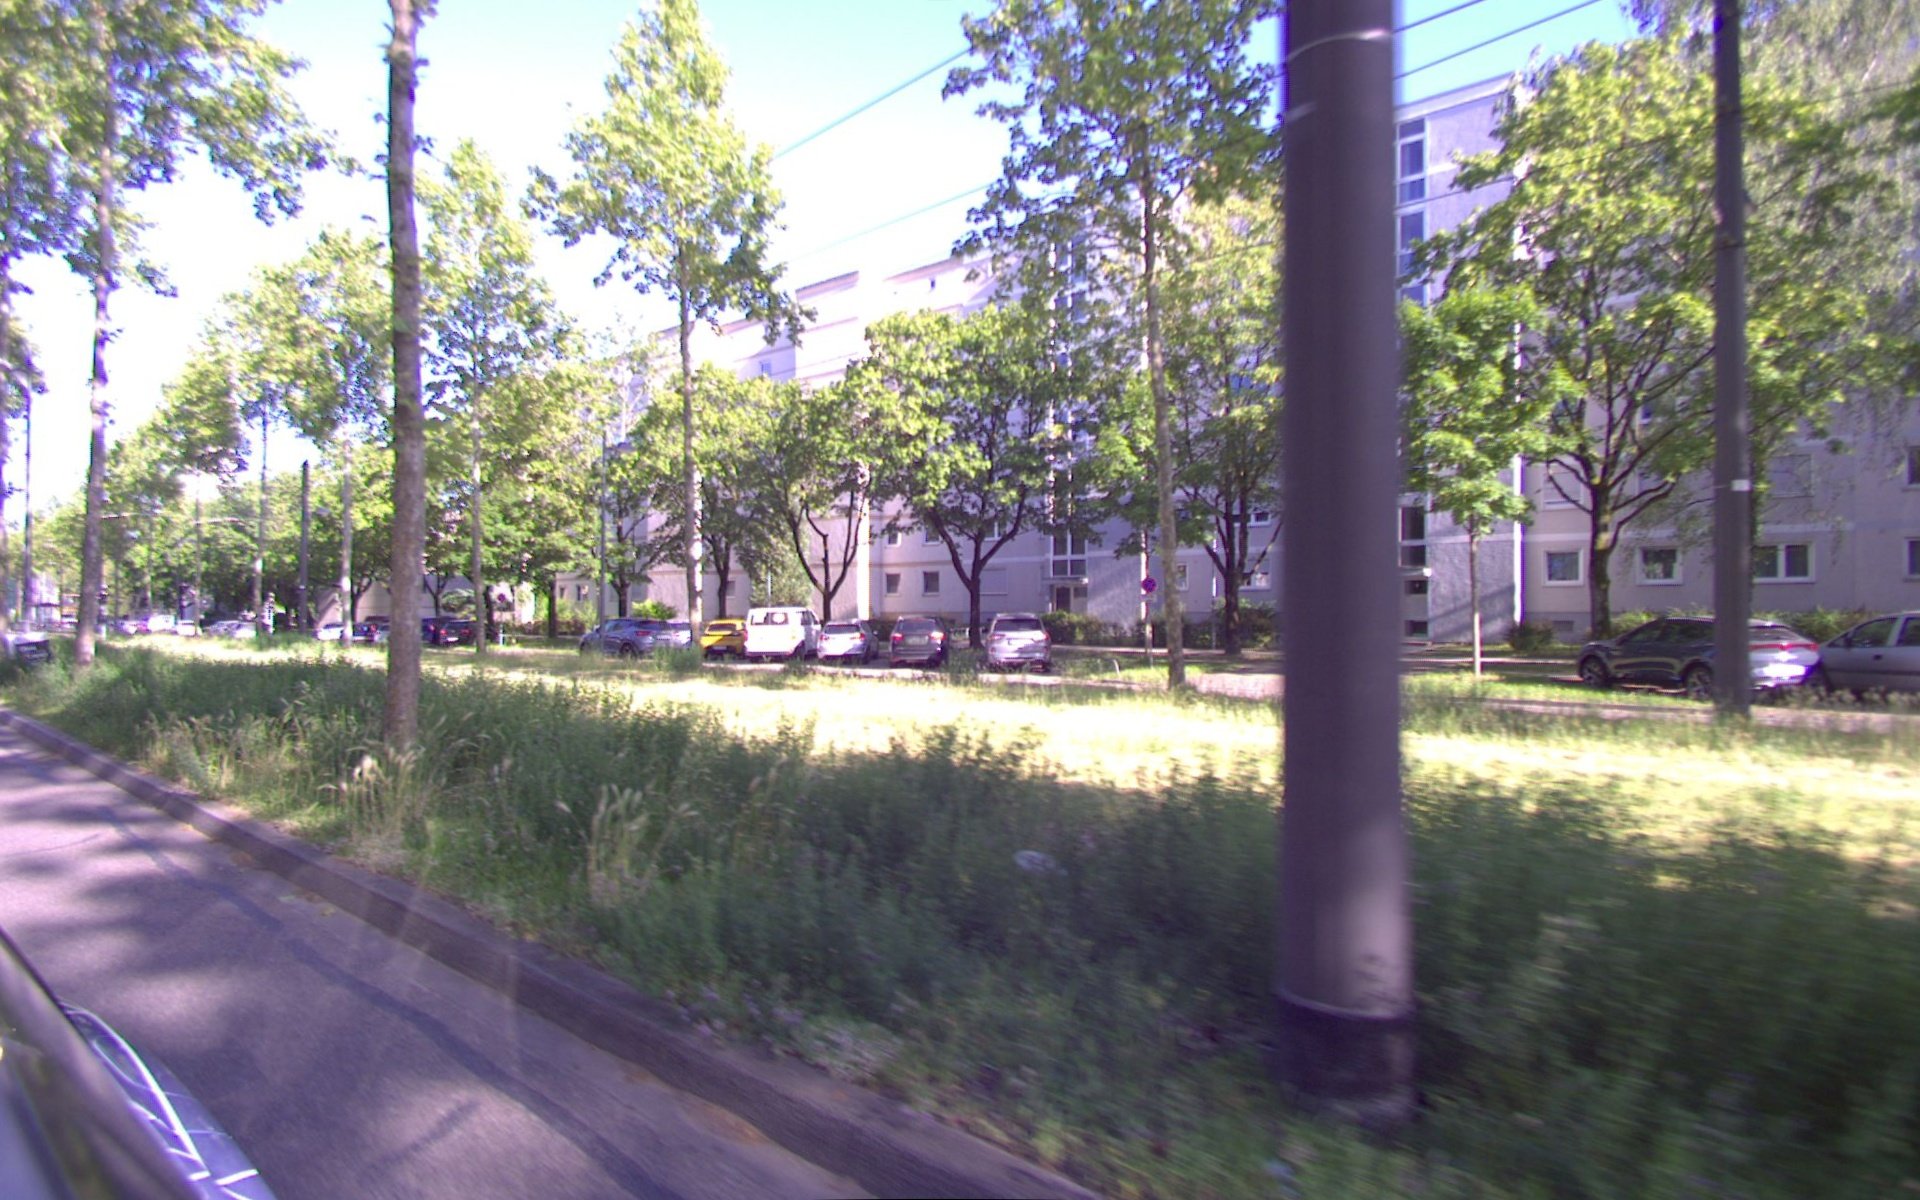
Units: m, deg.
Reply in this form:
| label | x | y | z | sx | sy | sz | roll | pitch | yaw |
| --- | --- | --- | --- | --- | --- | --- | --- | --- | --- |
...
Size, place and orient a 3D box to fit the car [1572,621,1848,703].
| label | x | y | z | sx | sy | sz | roll | pitch | yaw |
| --- | --- | --- | --- | --- | --- | --- | --- | --- | --- |
| car | 13.646 | 1.064 | 18.771 | 1.768 | 1.348 | 4.136 | 0 | -1 | -5 |

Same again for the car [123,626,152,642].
| label | x | y | z | sx | sy | sz | roll | pitch | yaw |
| --- | --- | --- | --- | --- | --- | --- | --- | --- | --- |
| car | -82.056 | 3.369 | 100.918 | 4.017 | 1.500 | 1.577 | -2 | -2 | 41 |

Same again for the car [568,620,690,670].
| label | x | y | z | sx | sy | sz | roll | pitch | yaw |
| --- | --- | --- | --- | --- | --- | --- | --- | --- | --- |
| car | -10.863 | 1.465 | 33.111 | 4.082 | 1.518 | 1.904 | -1 | -4 | 40 |

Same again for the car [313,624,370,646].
| label | x | y | z | sx | sy | sz | roll | pitch | yaw |
| --- | --- | --- | --- | --- | --- | --- | --- | --- | --- |
| car | -40.648 | 2.285 | 66.620 | 1.811 | 1.446 | 3.832 | 0 | -2 | -8 |

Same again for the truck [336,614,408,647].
| label | x | y | z | sx | sy | sz | roll | pitch | yaw |
| --- | --- | --- | --- | --- | --- | --- | --- | --- | --- |
| truck | -35.527 | 1.824 | 61.231 | 1.631 | 1.788 | 4.078 | 4 | -1 | 5 |

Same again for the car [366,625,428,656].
| label | x | y | z | sx | sy | sz | roll | pitch | yaw |
| --- | --- | --- | --- | --- | --- | --- | --- | --- | --- |
| car | -32.636 | 2.308 | 58.749 | 1.626 | 1.658 | 4.090 | 2 | -1 | -6 |

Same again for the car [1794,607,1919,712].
| label | x | y | z | sx | sy | sz | roll | pitch | yaw |
| --- | --- | --- | --- | --- | --- | --- | --- | --- | --- |
| car | 16.398 | 0.960 | 16.737 | 1.761 | 1.688 | 3.980 | -1 | -1 | -2 |

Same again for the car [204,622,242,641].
| label | x | y | z | sx | sy | sz | roll | pitch | yaw |
| --- | --- | --- | --- | --- | --- | --- | --- | --- | --- |
| car | -60.388 | 2.564 | 82.863 | 4.200 | 1.557 | 1.695 | -2 | -2 | 43 |

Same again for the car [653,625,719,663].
| label | x | y | z | sx | sy | sz | roll | pitch | yaw |
| --- | --- | --- | --- | --- | --- | --- | --- | --- | --- |
| car | -11.043 | 1.743 | 41.019 | 1.628 | 1.494 | 4.085 | 0 | -1 | -1 |

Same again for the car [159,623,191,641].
| label | x | y | z | sx | sy | sz | roll | pitch | yaw |
| --- | --- | --- | --- | --- | --- | --- | --- | --- | --- |
| car | -70.085 | 2.878 | 90.344 | 3.934 | 1.557 | 1.695 | -2 | -2 | 44 |

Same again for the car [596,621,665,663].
| label | x | y | z | sx | sy | sz | roll | pitch | yaw |
| --- | --- | --- | --- | --- | --- | --- | --- | --- | --- |
| car | -13.804 | 1.733 | 42.606 | 1.628 | 1.658 | 4.085 | -1 | -1 | -1 |

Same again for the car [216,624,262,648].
| label | x | y | z | sx | sy | sz | roll | pitch | yaw |
| --- | --- | --- | --- | --- | --- | --- | --- | --- | --- |
| car | -47.542 | 2.345 | 66.720 | 3.847 | 1.497 | 1.629 | -1 | -2 | 41 |

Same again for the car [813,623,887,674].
| label | x | y | z | sx | sy | sz | roll | pitch | yaw |
| --- | --- | --- | --- | --- | --- | --- | --- | --- | --- |
| car | -3.627 | 1.586 | 34.119 | 1.560 | 1.443 | 4.076 | -2 | 0 | 7 |

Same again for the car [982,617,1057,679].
| label | x | y | z | sx | sy | sz | roll | pitch | yaw |
| --- | --- | --- | --- | --- | --- | --- | --- | --- | --- |
| car | 1.743 | 1.336 | 28.892 | 1.970 | 1.619 | 4.078 | -1 | -2 | 5 |

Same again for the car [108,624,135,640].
| label | x | y | z | sx | sy | sz | roll | pitch | yaw |
| --- | --- | --- | --- | --- | --- | --- | --- | --- | --- |
| car | -87.380 | 3.366 | 105.425 | 3.928 | 1.648 | 1.577 | -2 | -2 | 41 |

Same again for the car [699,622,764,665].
| label | x | y | z | sx | sy | sz | roll | pitch | yaw |
| --- | --- | --- | --- | --- | --- | --- | --- | --- | --- |
| car | -8.664 | 1.631 | 38.659 | 1.557 | 1.443 | 4.085 | 3 | -1 | -1 |

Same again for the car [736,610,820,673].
| label | x | y | z | sx | sy | sz | roll | pitch | yaw |
| --- | --- | --- | --- | --- | --- | --- | --- | --- | --- |
| car | -6.309 | 1.415 | 35.581 | 1.867 | 2.022 | 4.794 | -2 | -1 | 3 |

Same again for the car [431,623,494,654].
| label | x | y | z | sx | sy | sz | roll | pitch | yaw |
| --- | --- | --- | --- | --- | --- | --- | --- | --- | --- |
| car | -26.721 | 2.036 | 54.467 | 1.626 | 1.487 | 4.090 | -4 | -1 | -6 |

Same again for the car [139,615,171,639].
| label | x | y | z | sx | sy | sz | roll | pitch | yaw |
| --- | --- | --- | --- | --- | --- | --- | --- | --- | --- |
| car | -78.045 | 2.606 | 98.072 | 3.931 | 2.279 | 1.696 | -2 | -2 | 41 |

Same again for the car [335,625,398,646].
| label | x | y | z | sx | sy | sz | roll | pitch | yaw |
| --- | --- | --- | --- | --- | --- | --- | --- | --- | --- |
| car | -37.791 | 2.242 | 64.499 | 1.814 | 1.256 | 3.826 | 0 | -2 | -1 |

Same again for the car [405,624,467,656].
| label | x | y | z | sx | sy | sz | roll | pitch | yaw |
| --- | --- | --- | --- | --- | --- | --- | --- | --- | --- |
| car | -29.453 | 2.253 | 56.963 | 1.626 | 1.658 | 4.089 | -2 | -2 | -5 |

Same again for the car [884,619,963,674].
| label | x | y | z | sx | sy | sz | roll | pitch | yaw |
| --- | --- | --- | --- | --- | --- | --- | --- | --- | --- |
| car | -1.065 | 1.412 | 31.519 | 1.796 | 1.542 | 4.076 | -2 | -2 | 7 |
